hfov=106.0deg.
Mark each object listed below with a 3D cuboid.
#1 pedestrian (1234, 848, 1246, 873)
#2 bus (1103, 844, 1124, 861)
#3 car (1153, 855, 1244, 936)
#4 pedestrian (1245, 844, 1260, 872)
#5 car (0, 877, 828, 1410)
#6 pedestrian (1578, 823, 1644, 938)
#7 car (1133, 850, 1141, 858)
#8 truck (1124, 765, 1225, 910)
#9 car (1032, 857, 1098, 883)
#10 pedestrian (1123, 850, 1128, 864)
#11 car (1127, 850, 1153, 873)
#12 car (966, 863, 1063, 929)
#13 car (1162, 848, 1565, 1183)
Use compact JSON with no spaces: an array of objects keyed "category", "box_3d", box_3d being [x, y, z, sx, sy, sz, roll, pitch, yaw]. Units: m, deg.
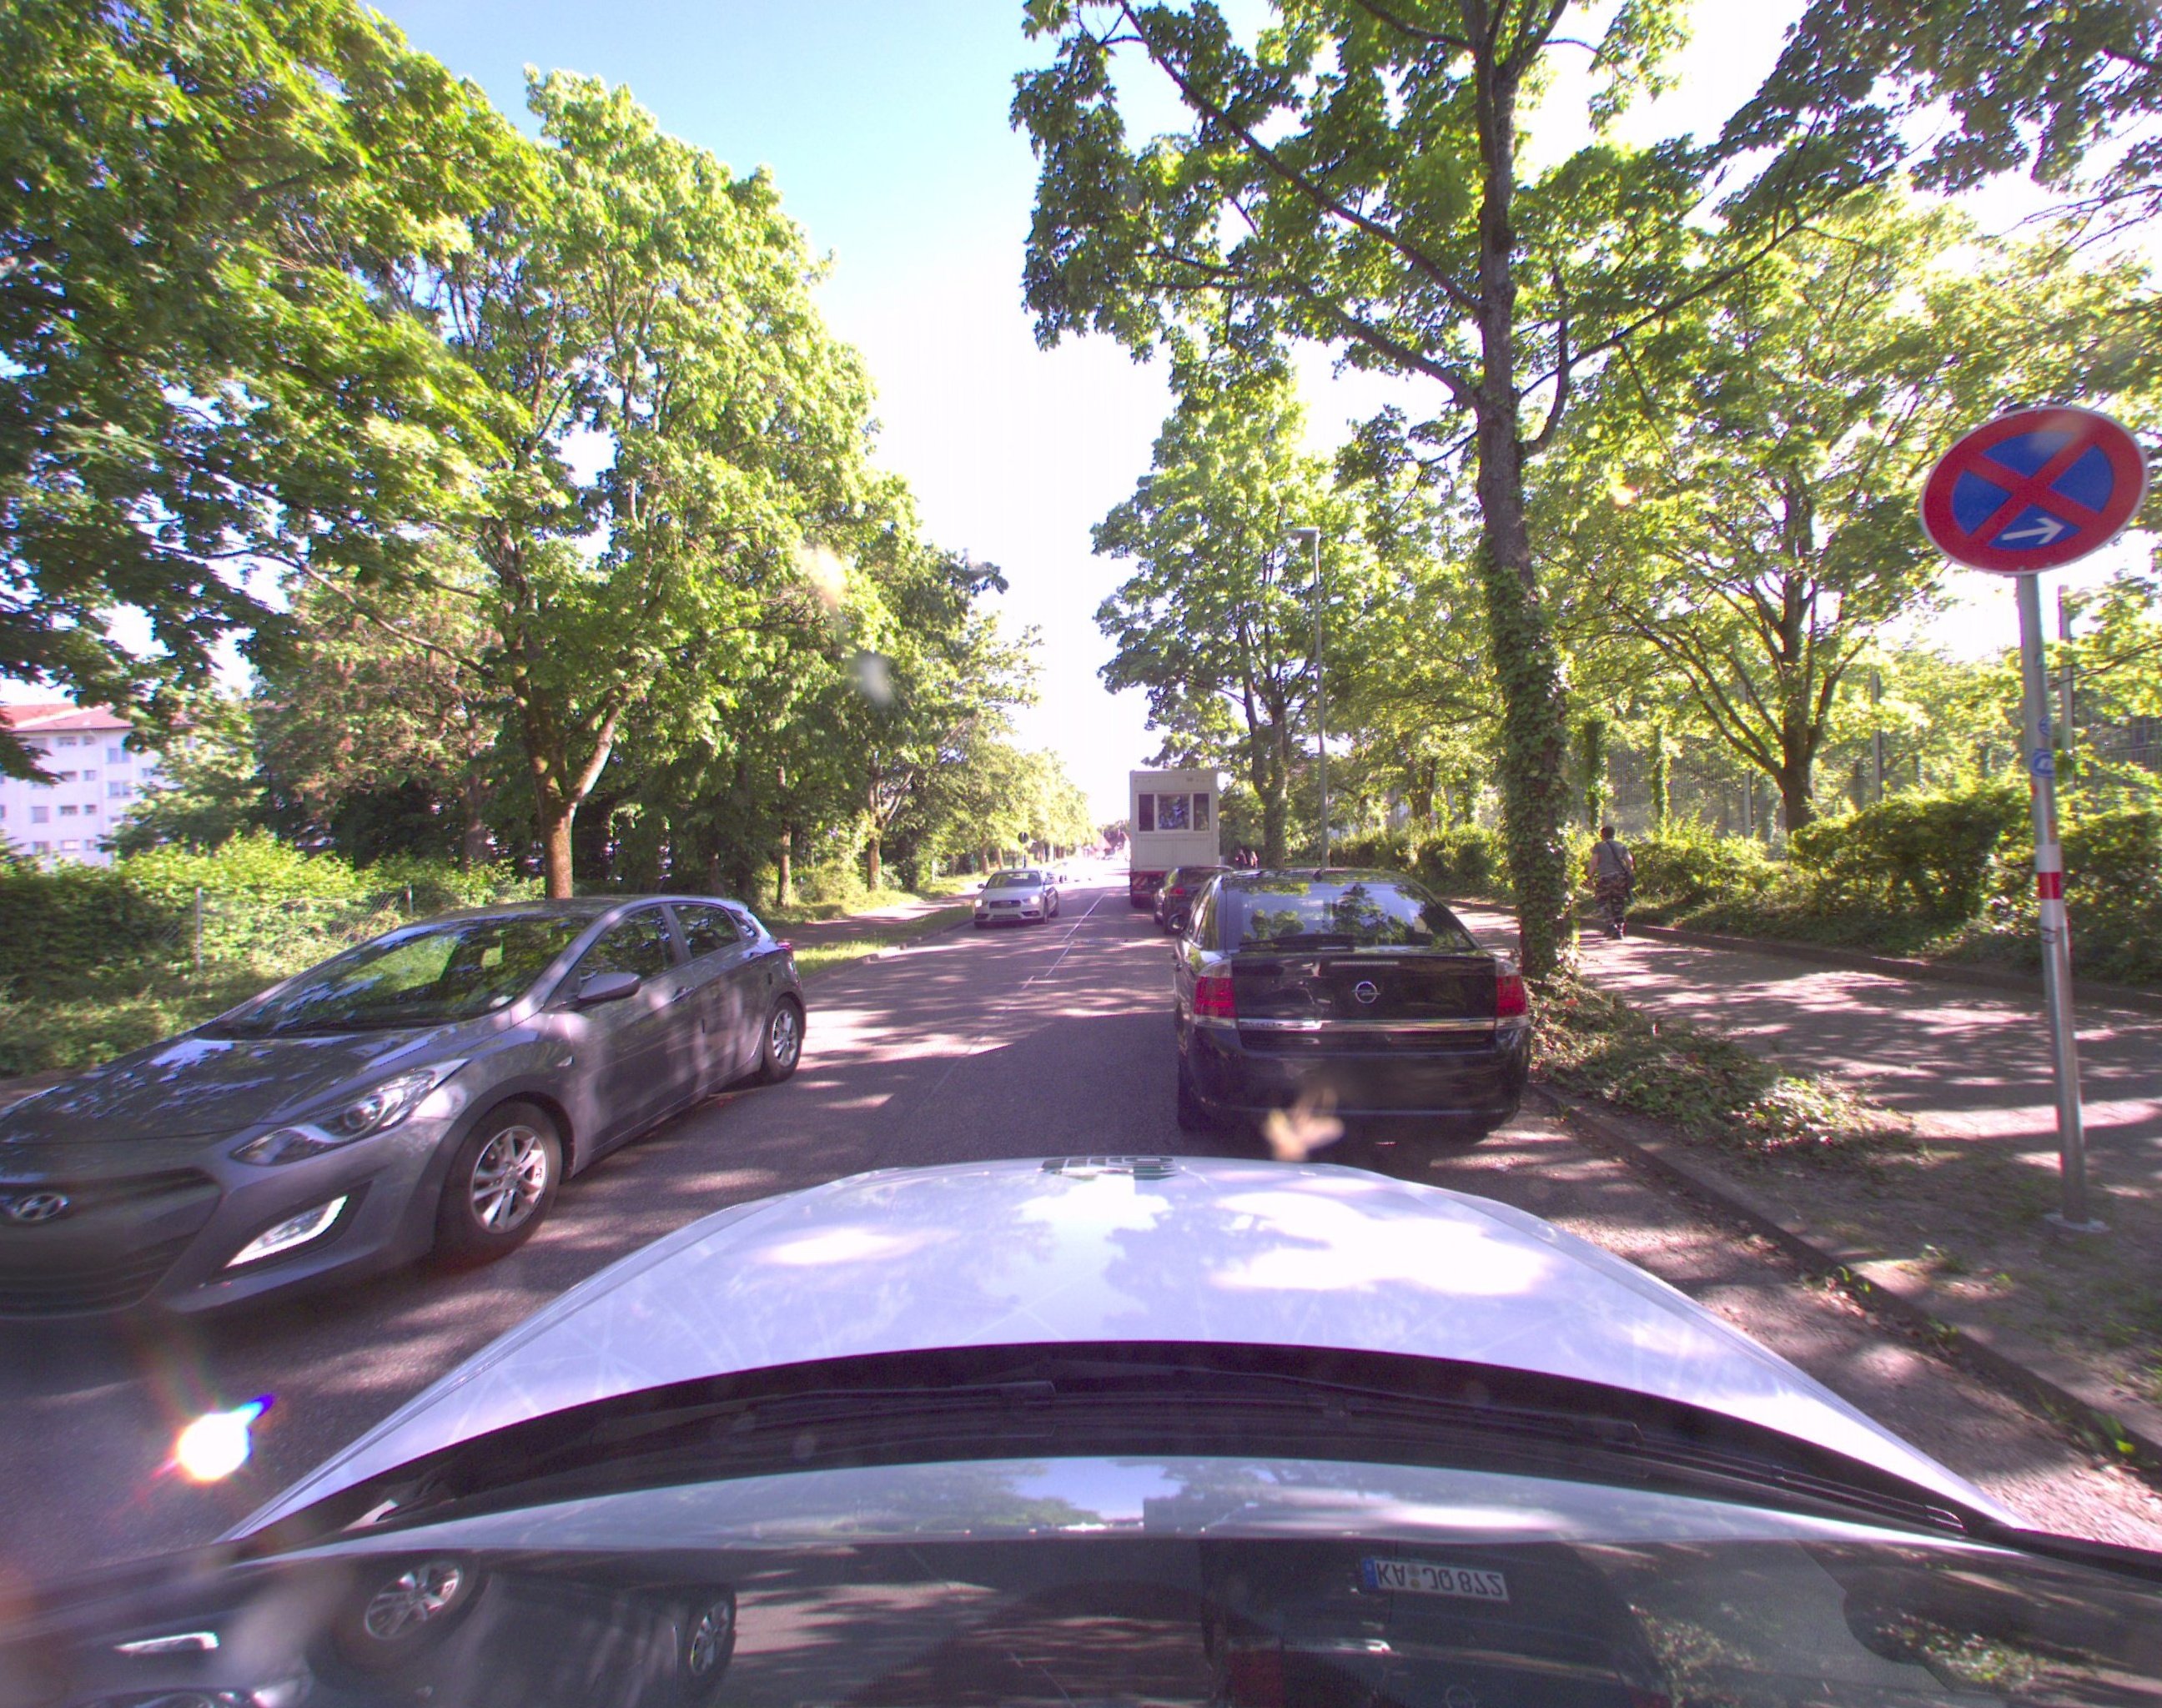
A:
[{"category":"pedestrian","box_3d":[10.482,0.414,53.859,0.596,1.611,0.600,-3,0,0]},{"category":"bus","box_3d":[7.375,-0.350,182.994,4.045,3.349,9.817,-3,0,6]},{"category":"car","box_3d":[2.441,0.801,17.542,1.632,1.420,4.007,-4,0,6]},{"category":"pedestrian","box_3d":[11.322,0.235,53.776,0.695,1.812,0.700,-3,0,0]},{"category":"car","box_3d":[-3.126,0.973,4.627,1.748,1.454,4.247,-3,0,3]},{"category":"pedestrian","box_3d":[7.668,0.372,11.806,0.567,1.608,0.673,-2,0,13]},{"category":"car","box_3d":[13.076,0.033,191.384,1.774,1.808,4.003,-3,0,3]},{"category":"truck","box_3d":[2.888,-0.468,27.829,2.761,3.996,10.357,-1,0,3]},{"category":"car","box_3d":[-1.050,1.054,53.663,3.979,1.420,1.790,-3,0,-38]},{"category":"pedestrian","box_3d":[6.530,0.408,120.155,0.748,2.113,0.800,0,-1,6]},{"category":"car","box_3d":[5.069,0.646,70.153,1.940,1.843,4.000,-2,0,1]},{"category":"car","box_3d":[-1.625,1.016,21.309,1.778,1.416,4.110,-3,0,5]},{"category":"car","box_3d":[1.454,0.750,5.689,1.740,1.480,4.036,-1,-1,6]}]
